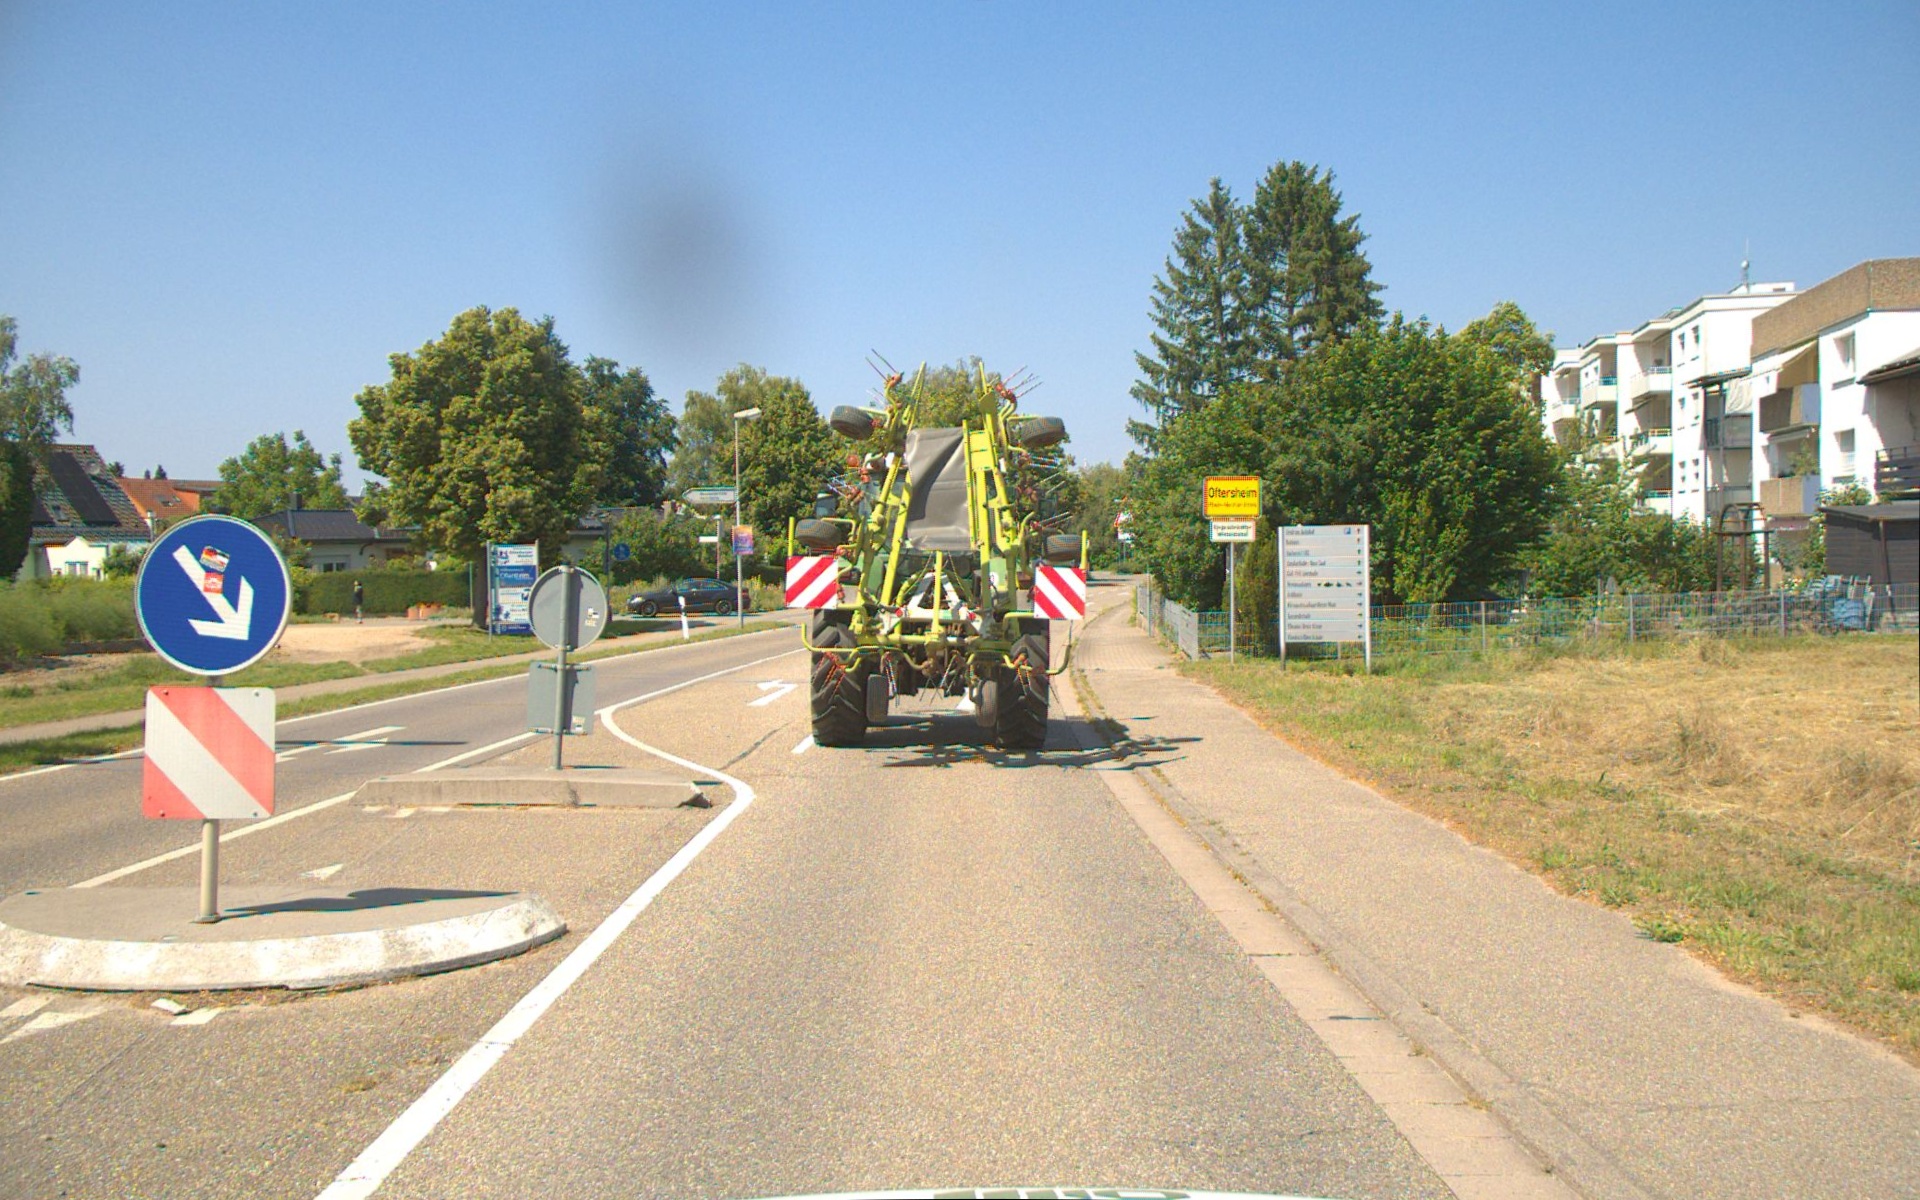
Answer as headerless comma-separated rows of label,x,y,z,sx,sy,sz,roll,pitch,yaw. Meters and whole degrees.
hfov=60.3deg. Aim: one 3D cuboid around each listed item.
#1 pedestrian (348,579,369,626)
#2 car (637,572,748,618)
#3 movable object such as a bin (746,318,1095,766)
pedestrian,-22.463,0.079,61.779,0.663,1.746,0.548,-1,1,-18
car,-9.949,-0.191,61.716,4.011,1.545,1.996,-2,1,-9
movable object such as a bin,-0.330,-0.522,18.172,2.794,3.603,9.700,0,1,0
